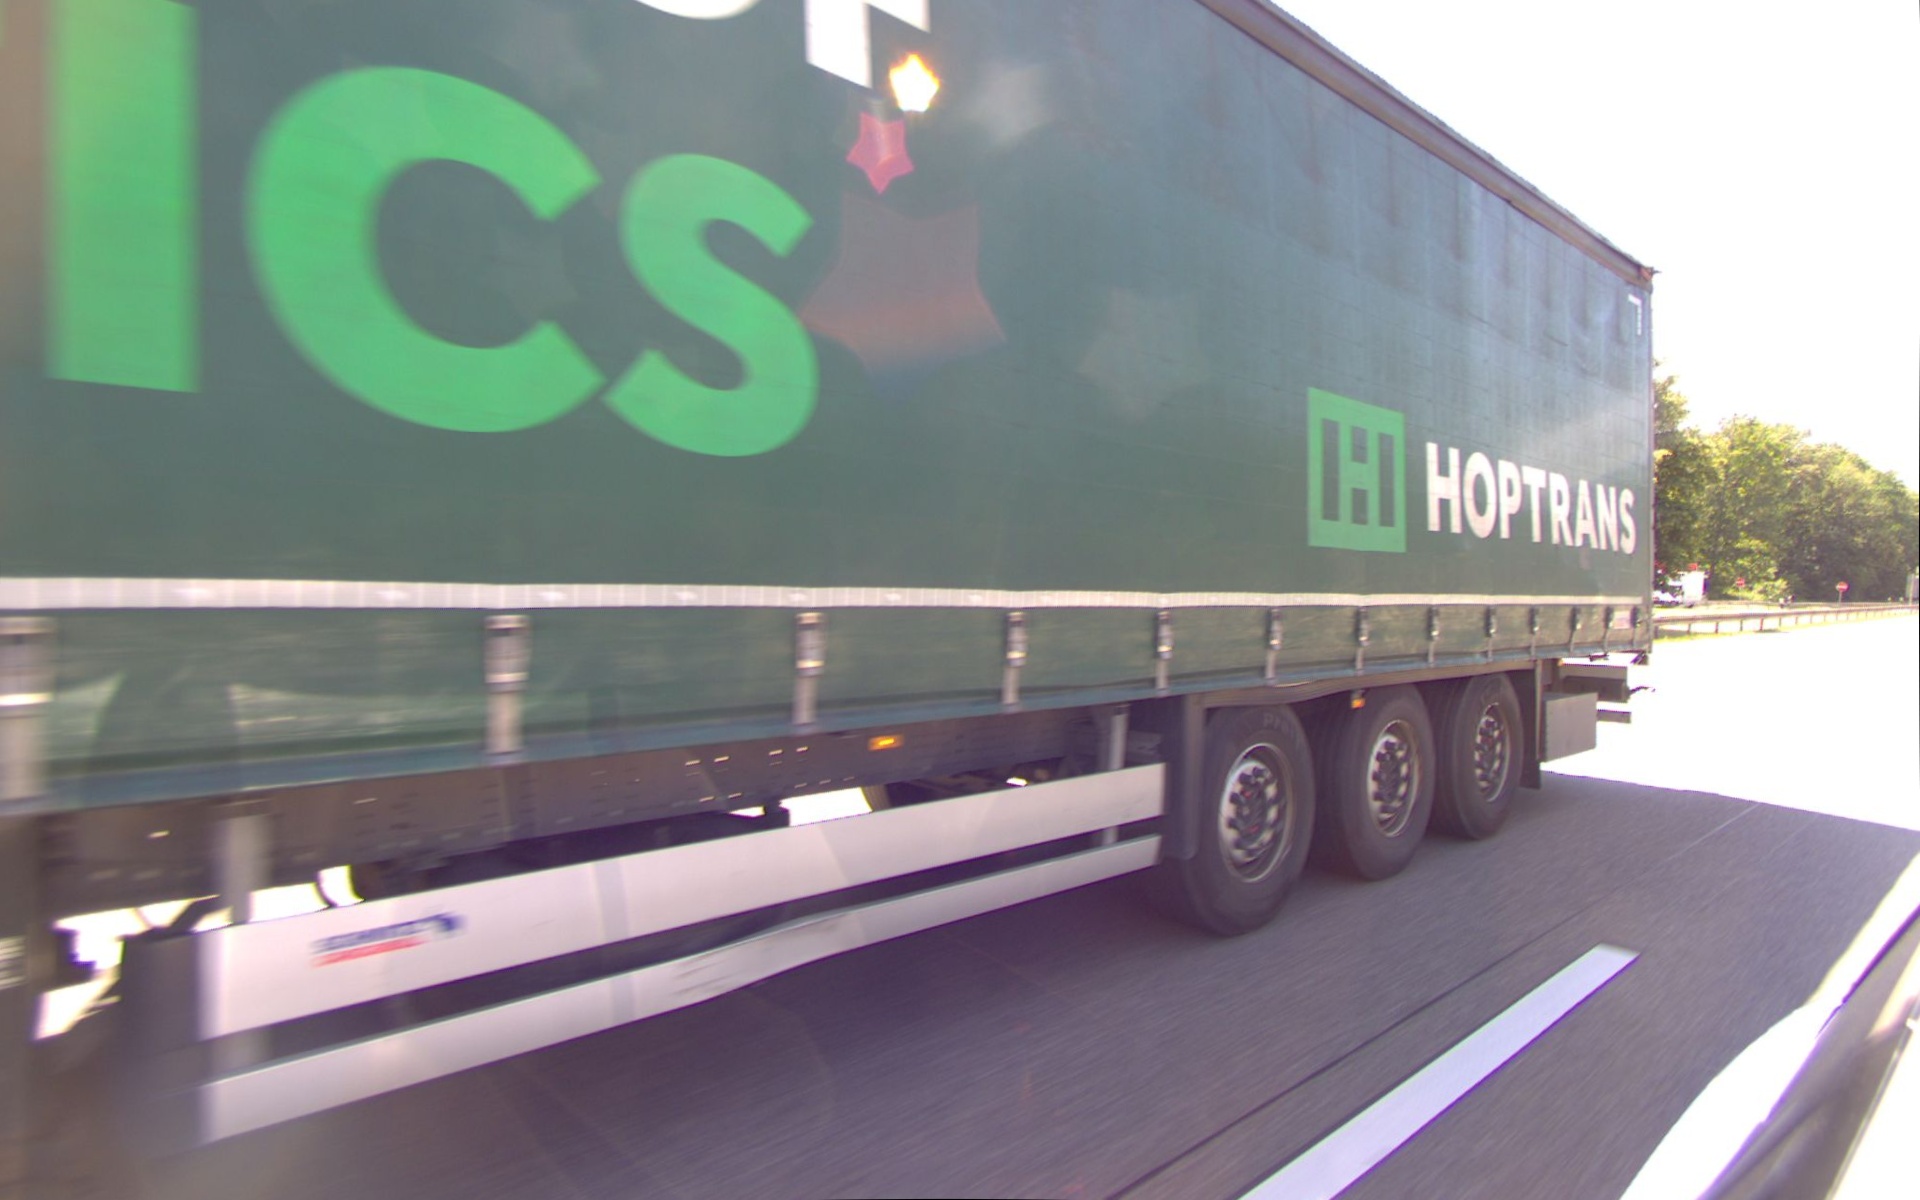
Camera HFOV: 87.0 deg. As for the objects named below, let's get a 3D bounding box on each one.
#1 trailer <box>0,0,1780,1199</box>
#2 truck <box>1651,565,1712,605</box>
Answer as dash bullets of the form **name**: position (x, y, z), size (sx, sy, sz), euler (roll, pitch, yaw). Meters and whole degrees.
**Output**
- **trailer**: position (1.865, -0.868, 6.422), size (14.722, 4.326, 2.860), euler (-1, 0, -42)
- **truck**: position (54.784, -1.156, 76.803), size (5.562, 2.908, 2.000), euler (0, 2, -36)
